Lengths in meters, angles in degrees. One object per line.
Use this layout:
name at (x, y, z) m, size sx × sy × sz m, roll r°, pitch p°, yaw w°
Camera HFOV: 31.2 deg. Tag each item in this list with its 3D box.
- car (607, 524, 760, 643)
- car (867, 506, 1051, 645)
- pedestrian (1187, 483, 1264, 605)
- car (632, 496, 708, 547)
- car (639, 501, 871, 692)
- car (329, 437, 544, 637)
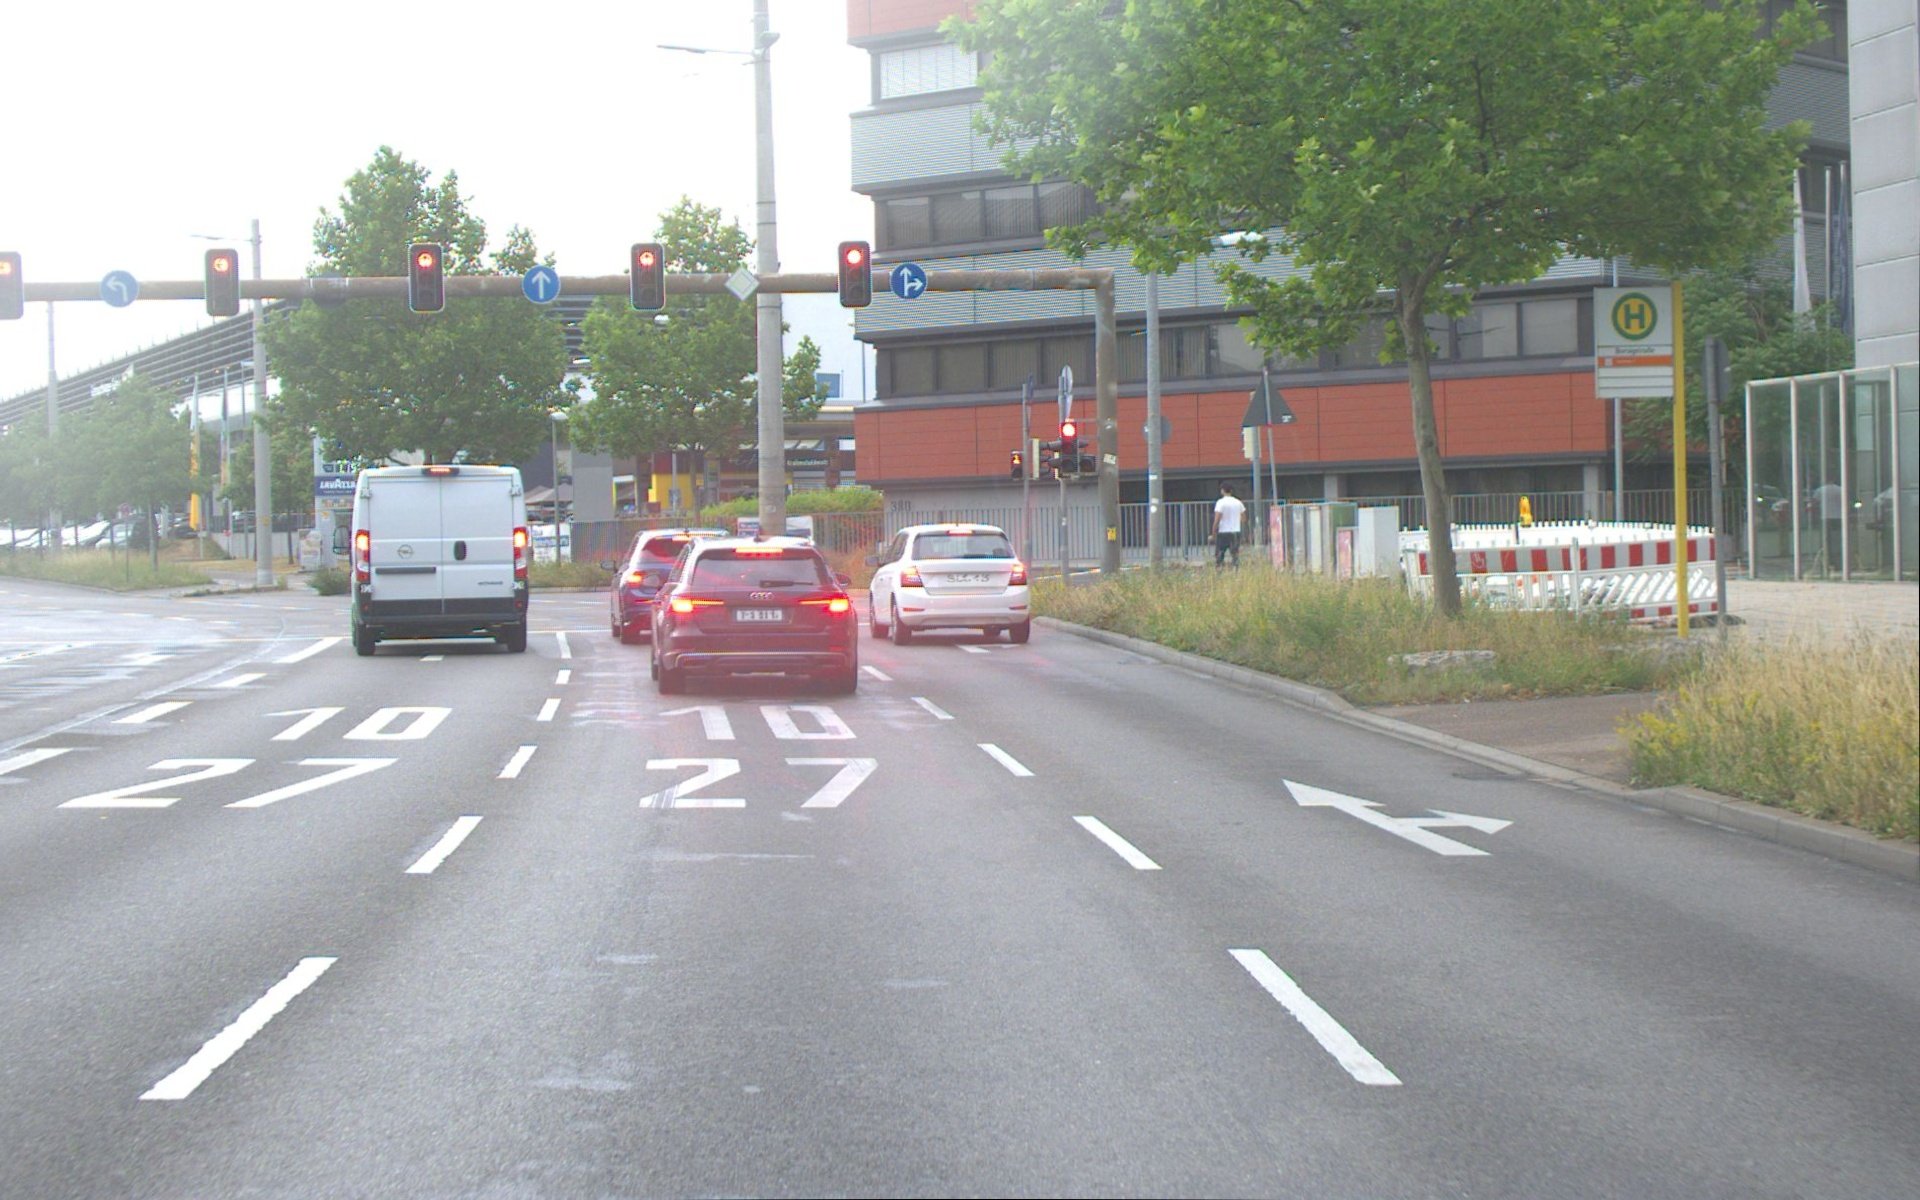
car at (-3.595, -0.220, 45.052) m, size 1.893 × 1.460 × 3.910 m, roll -1°, pitch 0°, yaw -4°
car at (-0.064, -0.300, 43.000) m, size 1.828 × 1.650 × 4.001 m, roll 0°, pitch 0°, yaw -7°
pedestrian at (4.760, -1.011, 61.726) m, size 1.143 × 2.118 × 1.223 m, roll -2°, pitch 3°, yaw -6°
car at (-12.048, -3.244, 142.761) m, size 1.870 × 2.007 × 3.775 m, roll 1°, pitch 0°, yaw -26°
car at (-1.964, -0.038, 31.876) m, size 1.993 × 1.631 × 4.001 m, roll -1°, pitch 0°, yaw -5°
car at (-6.486, -0.741, 42.518) m, size 2.444 × 2.286 × 4.906 m, roll 1°, pitch 0°, yaw -9°
